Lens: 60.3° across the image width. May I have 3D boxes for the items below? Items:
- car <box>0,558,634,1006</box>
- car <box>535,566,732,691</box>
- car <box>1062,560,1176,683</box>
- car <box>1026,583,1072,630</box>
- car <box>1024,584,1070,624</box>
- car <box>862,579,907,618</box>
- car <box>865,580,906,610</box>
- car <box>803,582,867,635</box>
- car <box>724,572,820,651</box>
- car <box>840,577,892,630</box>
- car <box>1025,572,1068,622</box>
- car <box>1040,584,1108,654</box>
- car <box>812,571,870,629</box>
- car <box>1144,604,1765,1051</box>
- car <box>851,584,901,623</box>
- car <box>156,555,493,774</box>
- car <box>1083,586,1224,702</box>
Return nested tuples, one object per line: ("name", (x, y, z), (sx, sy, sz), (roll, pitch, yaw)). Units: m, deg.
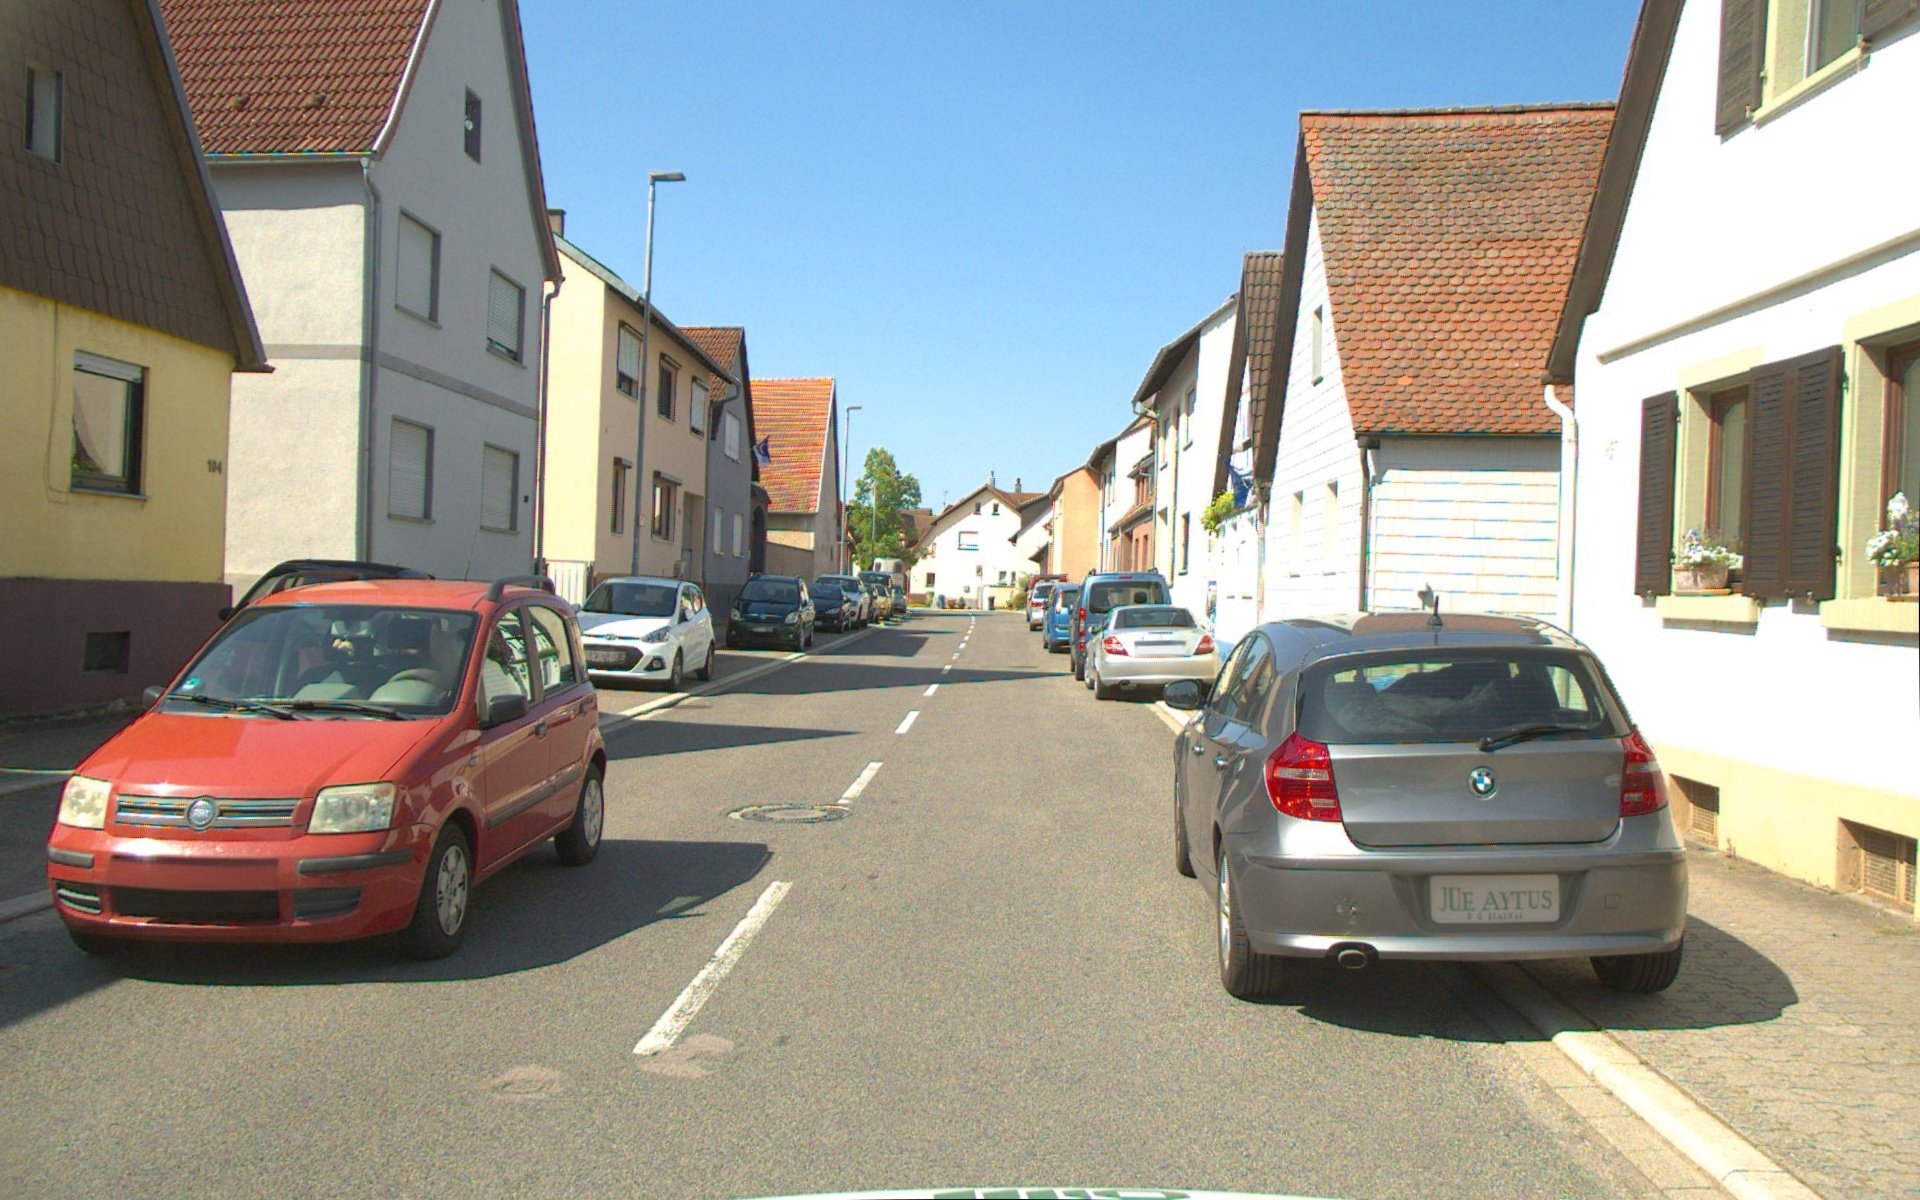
("car", (-2.723, 0.643, 7.712), (1.568, 1.515, 3.626), (3, 0, 1))
("car", (-4.654, 0.382, 24.239), (1.768, 1.574, 4.405), (3, 0, 2))
("car", (2.740, 0.358, 29.155), (1.615, 1.943, 3.626), (3, 0, 1))
("car", (3.078, 0.213, 57.656), (1.391, 1.541, 3.304), (3, 0, 1))
("car", (3.415, 0.167, 65.318), (1.730, 1.458, 3.451), (2, 0, 2))
("car", (-3.361, -0.060, 74.473), (1.718, 1.653, 4.000), (2, 0, 1))
("car", (-3.755, -0.245, 84.032), (1.717, 1.467, 4.001), (2, 0, 2))
("car", (-3.685, 0.247, 49.177), (1.473, 1.478, 3.509), (2, 0, 2))
("car", (-4.196, 0.253, 37.388), (1.586, 1.605, 3.962), (3, 0, 1))
("car", (-3.319, 0.115, 58.886), (1.496, 1.743, 3.626), (3, 0, 1))
("car", (3.691, -0.106, 70.785), (1.730, 2.039, 3.451), (2, 0, 2))
("car", (2.728, 0.441, 40.019), (1.391, 1.541, 3.304), (3, 0, 1))
("car", (-3.831, -0.007, 53.595), (1.496, 1.743, 3.626), (3, 0, 1))
("car", (1.847, 0.755, 7.401), (1.669, 1.458, 3.890), (0, 0, 1))
("car", (-3.356, 0.145, 66.740), (1.718, 1.467, 4.000), (2, 0, 0))
("car", (-5.222, 0.486, 13.981), (1.520, 1.571, 2.988), (3, 0, 2))
("car", (2.745, 0.589, 24.090), (1.669, 1.523, 3.453), (-2, 0, 1))
